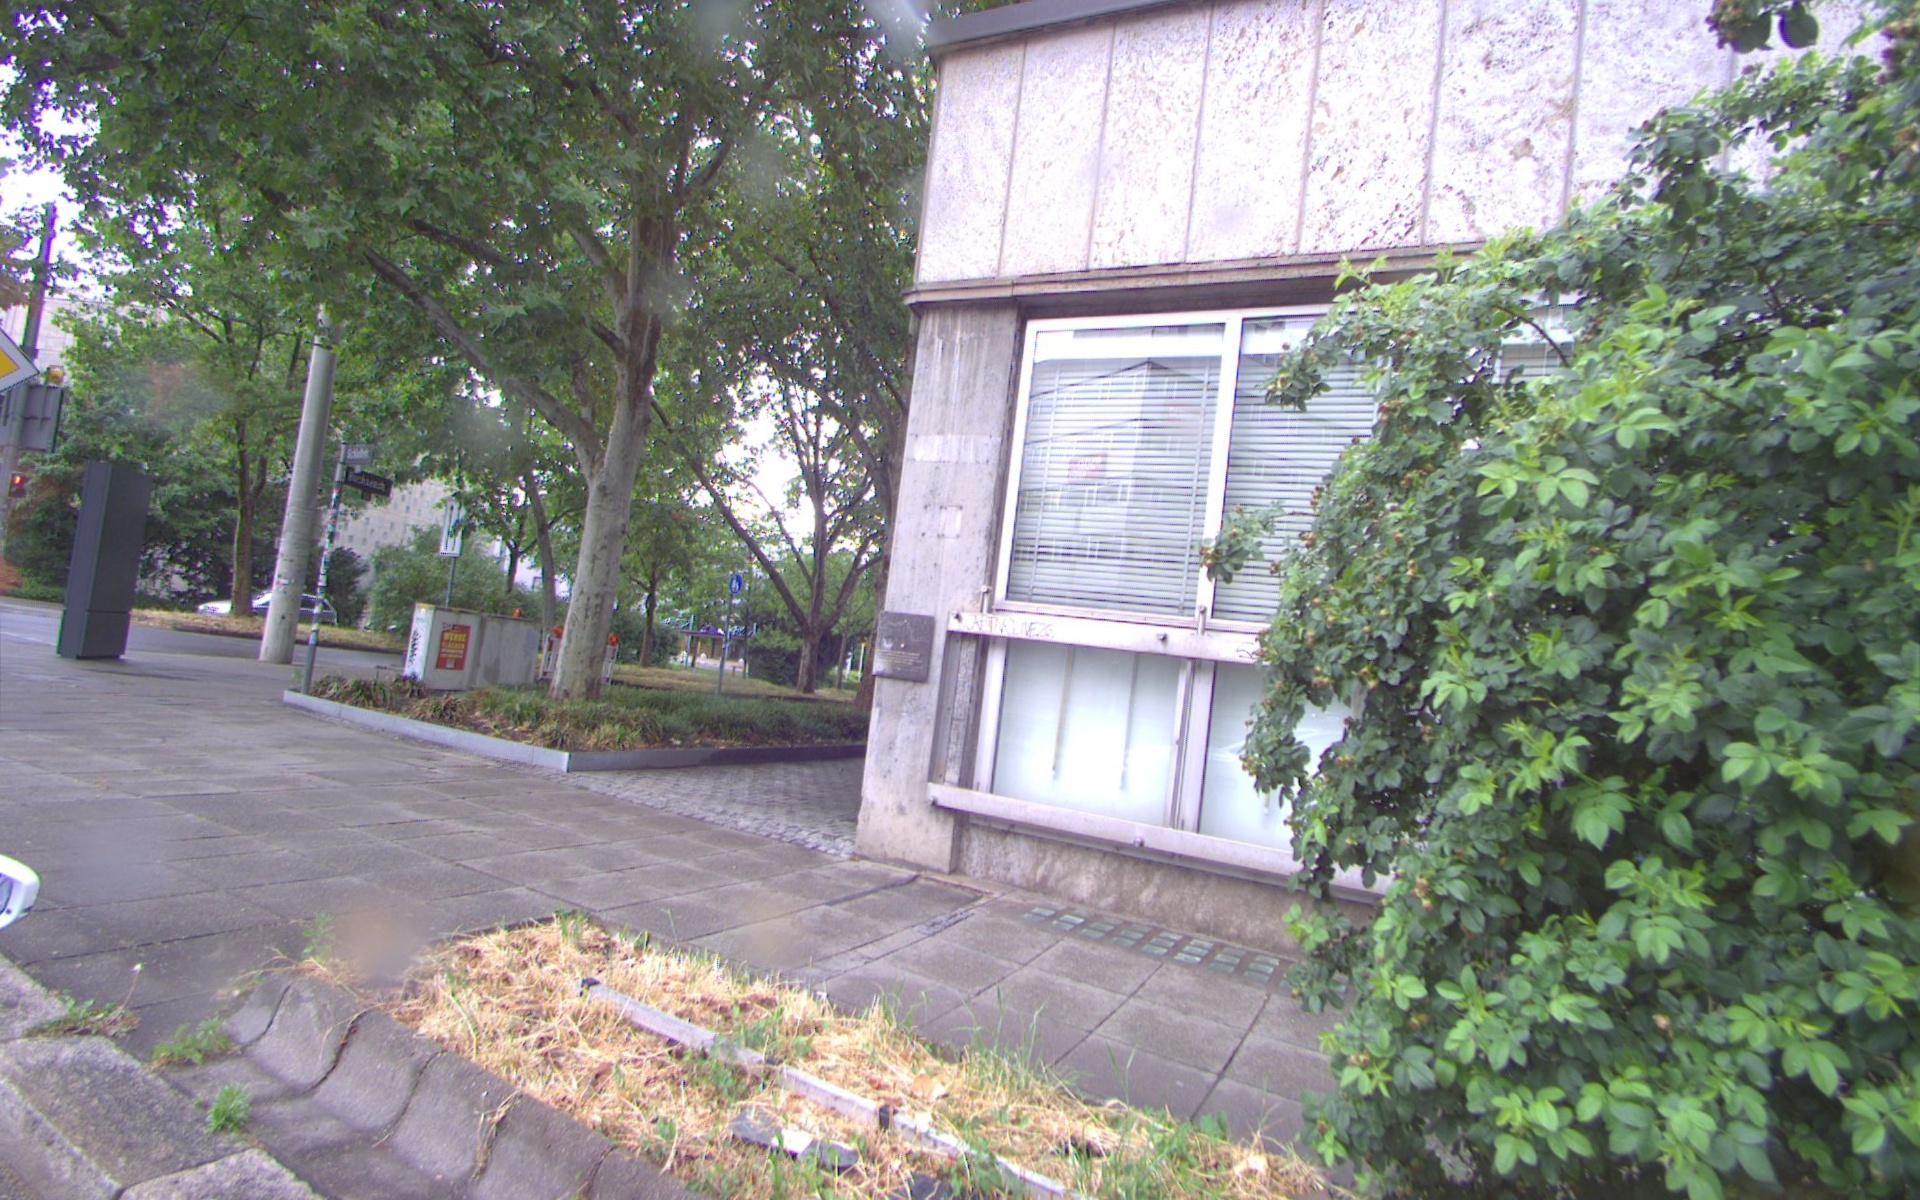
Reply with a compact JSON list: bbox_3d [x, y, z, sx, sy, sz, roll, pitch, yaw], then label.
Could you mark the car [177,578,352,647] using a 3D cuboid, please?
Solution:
[{"bbox_3d":[-21.971,0.437,31.949,1.964,1.456,4.007,6,-6,25],"label":"car"}]
